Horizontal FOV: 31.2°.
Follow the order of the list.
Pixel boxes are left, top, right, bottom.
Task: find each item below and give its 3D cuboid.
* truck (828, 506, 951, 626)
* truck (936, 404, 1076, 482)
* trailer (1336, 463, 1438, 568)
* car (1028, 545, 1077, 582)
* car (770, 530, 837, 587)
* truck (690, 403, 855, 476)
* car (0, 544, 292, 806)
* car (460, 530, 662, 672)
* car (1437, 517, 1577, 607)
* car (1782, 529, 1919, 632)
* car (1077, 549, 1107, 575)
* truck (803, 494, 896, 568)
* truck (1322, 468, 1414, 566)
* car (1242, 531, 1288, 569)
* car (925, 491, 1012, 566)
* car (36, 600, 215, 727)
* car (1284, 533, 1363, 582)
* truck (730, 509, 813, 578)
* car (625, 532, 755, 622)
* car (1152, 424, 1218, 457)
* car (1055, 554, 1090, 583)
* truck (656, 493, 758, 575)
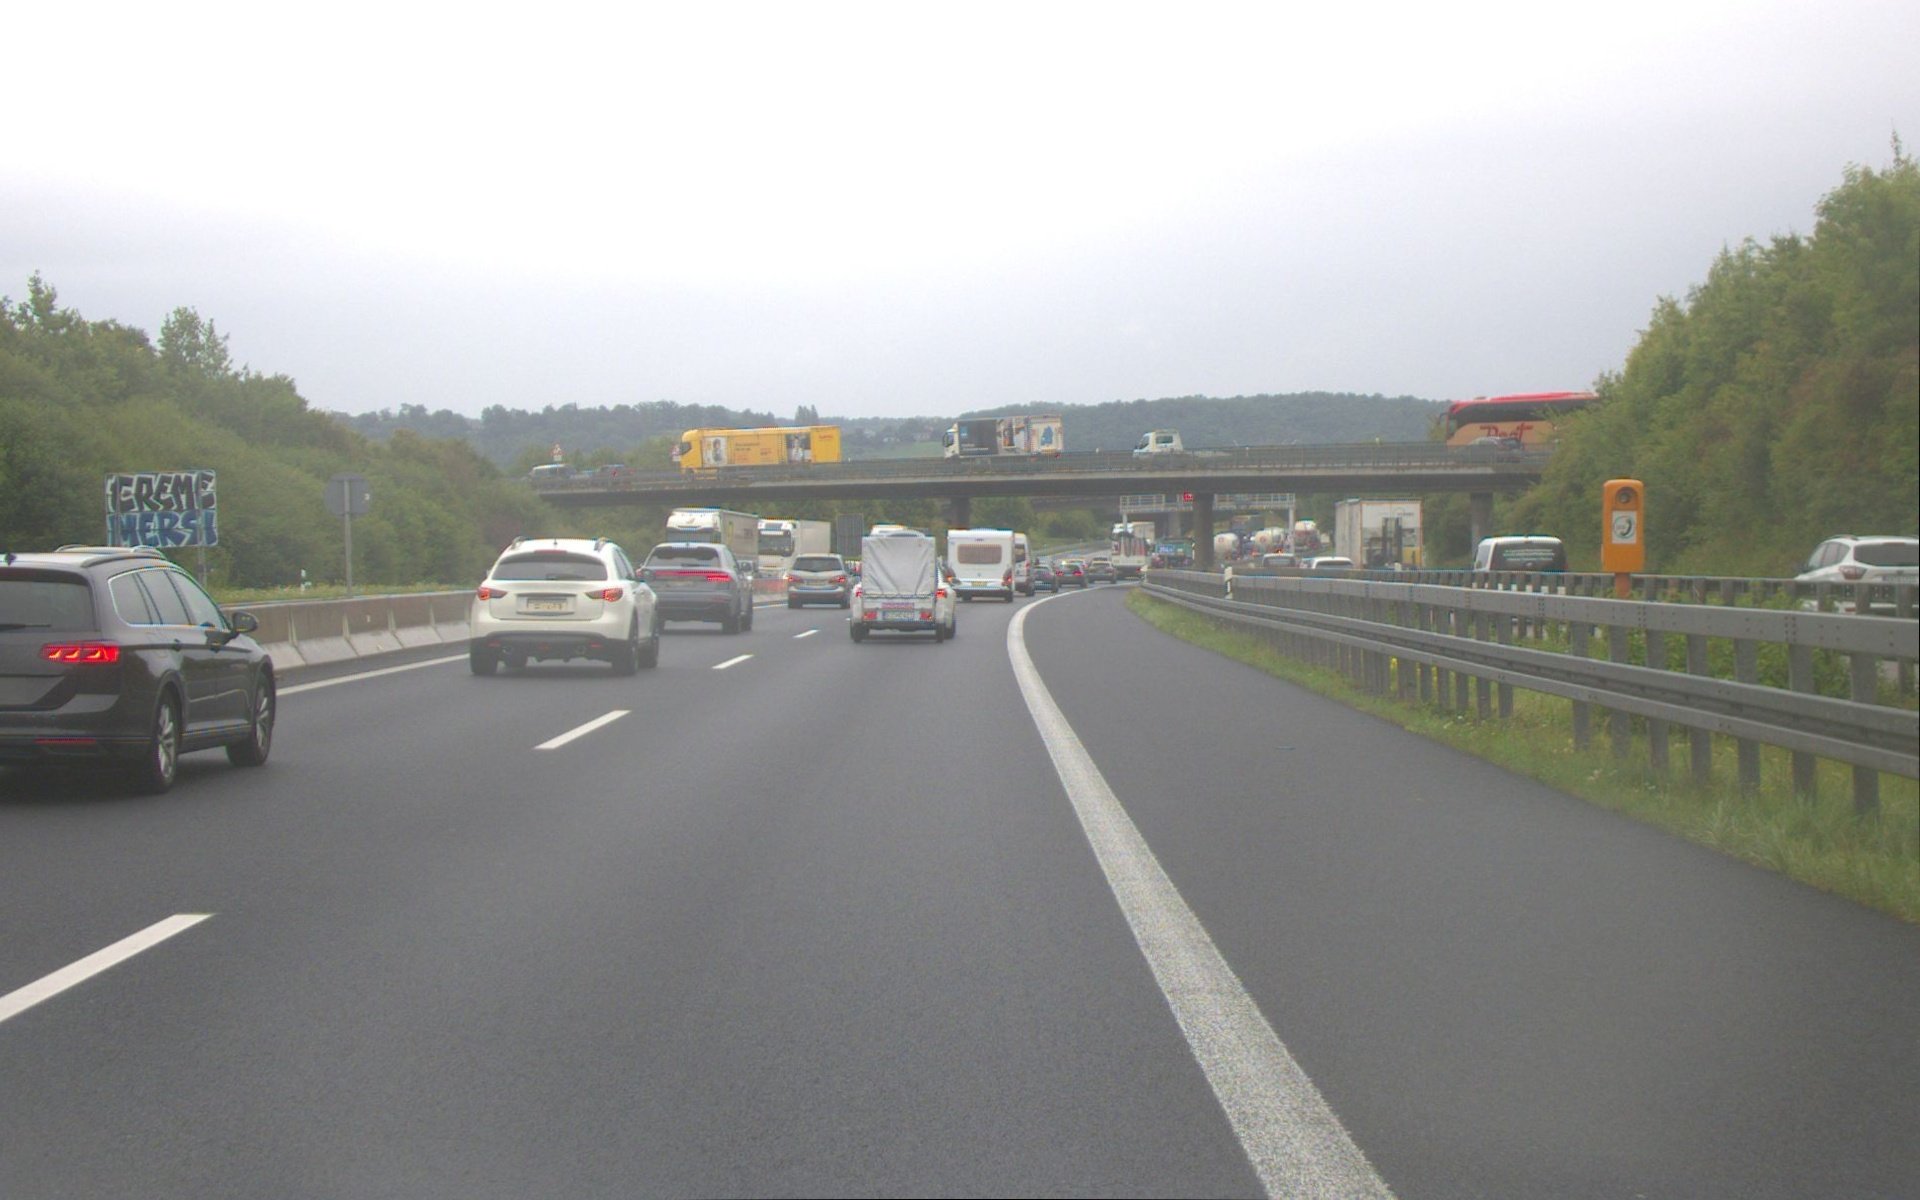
[{"bbox_3d":[-1.198,-0.640,60.663,2.019,1.978,7.213,0,1,0],"label":"truck"},{"bbox_3d":[2.976,-10.271,226.475,3.767,4.819,10.041,-1,1,-38],"label":"truck"},{"bbox_3d":[18.080,-3.585,146.280,3.437,4.274,10.454,0,1,2],"label":"trailer"},{"bbox_3d":[4.515,-1.802,167.791,1.993,1.744,4.001,1,1,-4],"label":"car"},{"bbox_3d":[-4.522,-1.227,99.628,1.900,1.607,4.017,0,1,-2],"label":"car"},{"bbox_3d":[-13.663,-11.525,248.398,3.767,4.819,15.241,-1,1,-38],"label":"truck"},{"bbox_3d":[-5.651,0.404,21.987,1.900,1.492,4.852,0,1,-1],"label":"car"},{"bbox_3d":[-4.815,-0.026,42.062,1.976,1.633,4.501,0,1,0],"label":"car"},{"bbox_3d":[11.281,-0.800,71.136,2.007,1.808,4.277,0,1,-3],"label":"car"},{"bbox_3d":[14.804,-0.347,55.785,1.896,1.607,4.146,0,1,0],"label":"car"},{"bbox_3d":[9.175,-2.658,239.999,1.993,1.744,4.000,1,1,1],"label":"car"},{"bbox_3d":[-5.394,-3.412,170.687,3.766,3.542,13.186,0,1,2],"label":"truck"},{"bbox_3d":[18.539,-3.783,156.693,3.437,4.274,10.418,0,1,3],"label":"truck"},{"bbox_3d":[14.623,-2.406,164.814,1.860,1.799,4.648,0,1,1],"label":"car"},{"bbox_3d":[0.321,-2.560,122.840,3.017,2.607,6.075,0,1,1],"label":"car"},{"bbox_3d":[-13.450,0.987,55.662,1.993,1.895,4.173,1,1,-2],"label":"car"},{"bbox_3d":[11.832,-1.391,112.117,2.008,1.543,4.696,0,1,-1],"label":"car"},{"bbox_3d":[-11.119,-3.382,204.455,3.766,3.978,13.186,0,1,2],"label":"truck"},{"bbox_3d":[-5.072,-0.463,65.061,2.174,1.626,4.501,0,1,-1],"label":"car"},{"bbox_3d":[13.831,-9.804,211.377,1.838,1.908,3.999,0,1,-39],"label":"car"},{"bbox_3d":[6.800,-1.905,207.954,1.993,1.744,4.000,1,1,0],"label":"car"},{"bbox_3d":[-12.699,-3.317,173.784,3.766,3.978,13.186,0,1,2],"label":"truck"}]
